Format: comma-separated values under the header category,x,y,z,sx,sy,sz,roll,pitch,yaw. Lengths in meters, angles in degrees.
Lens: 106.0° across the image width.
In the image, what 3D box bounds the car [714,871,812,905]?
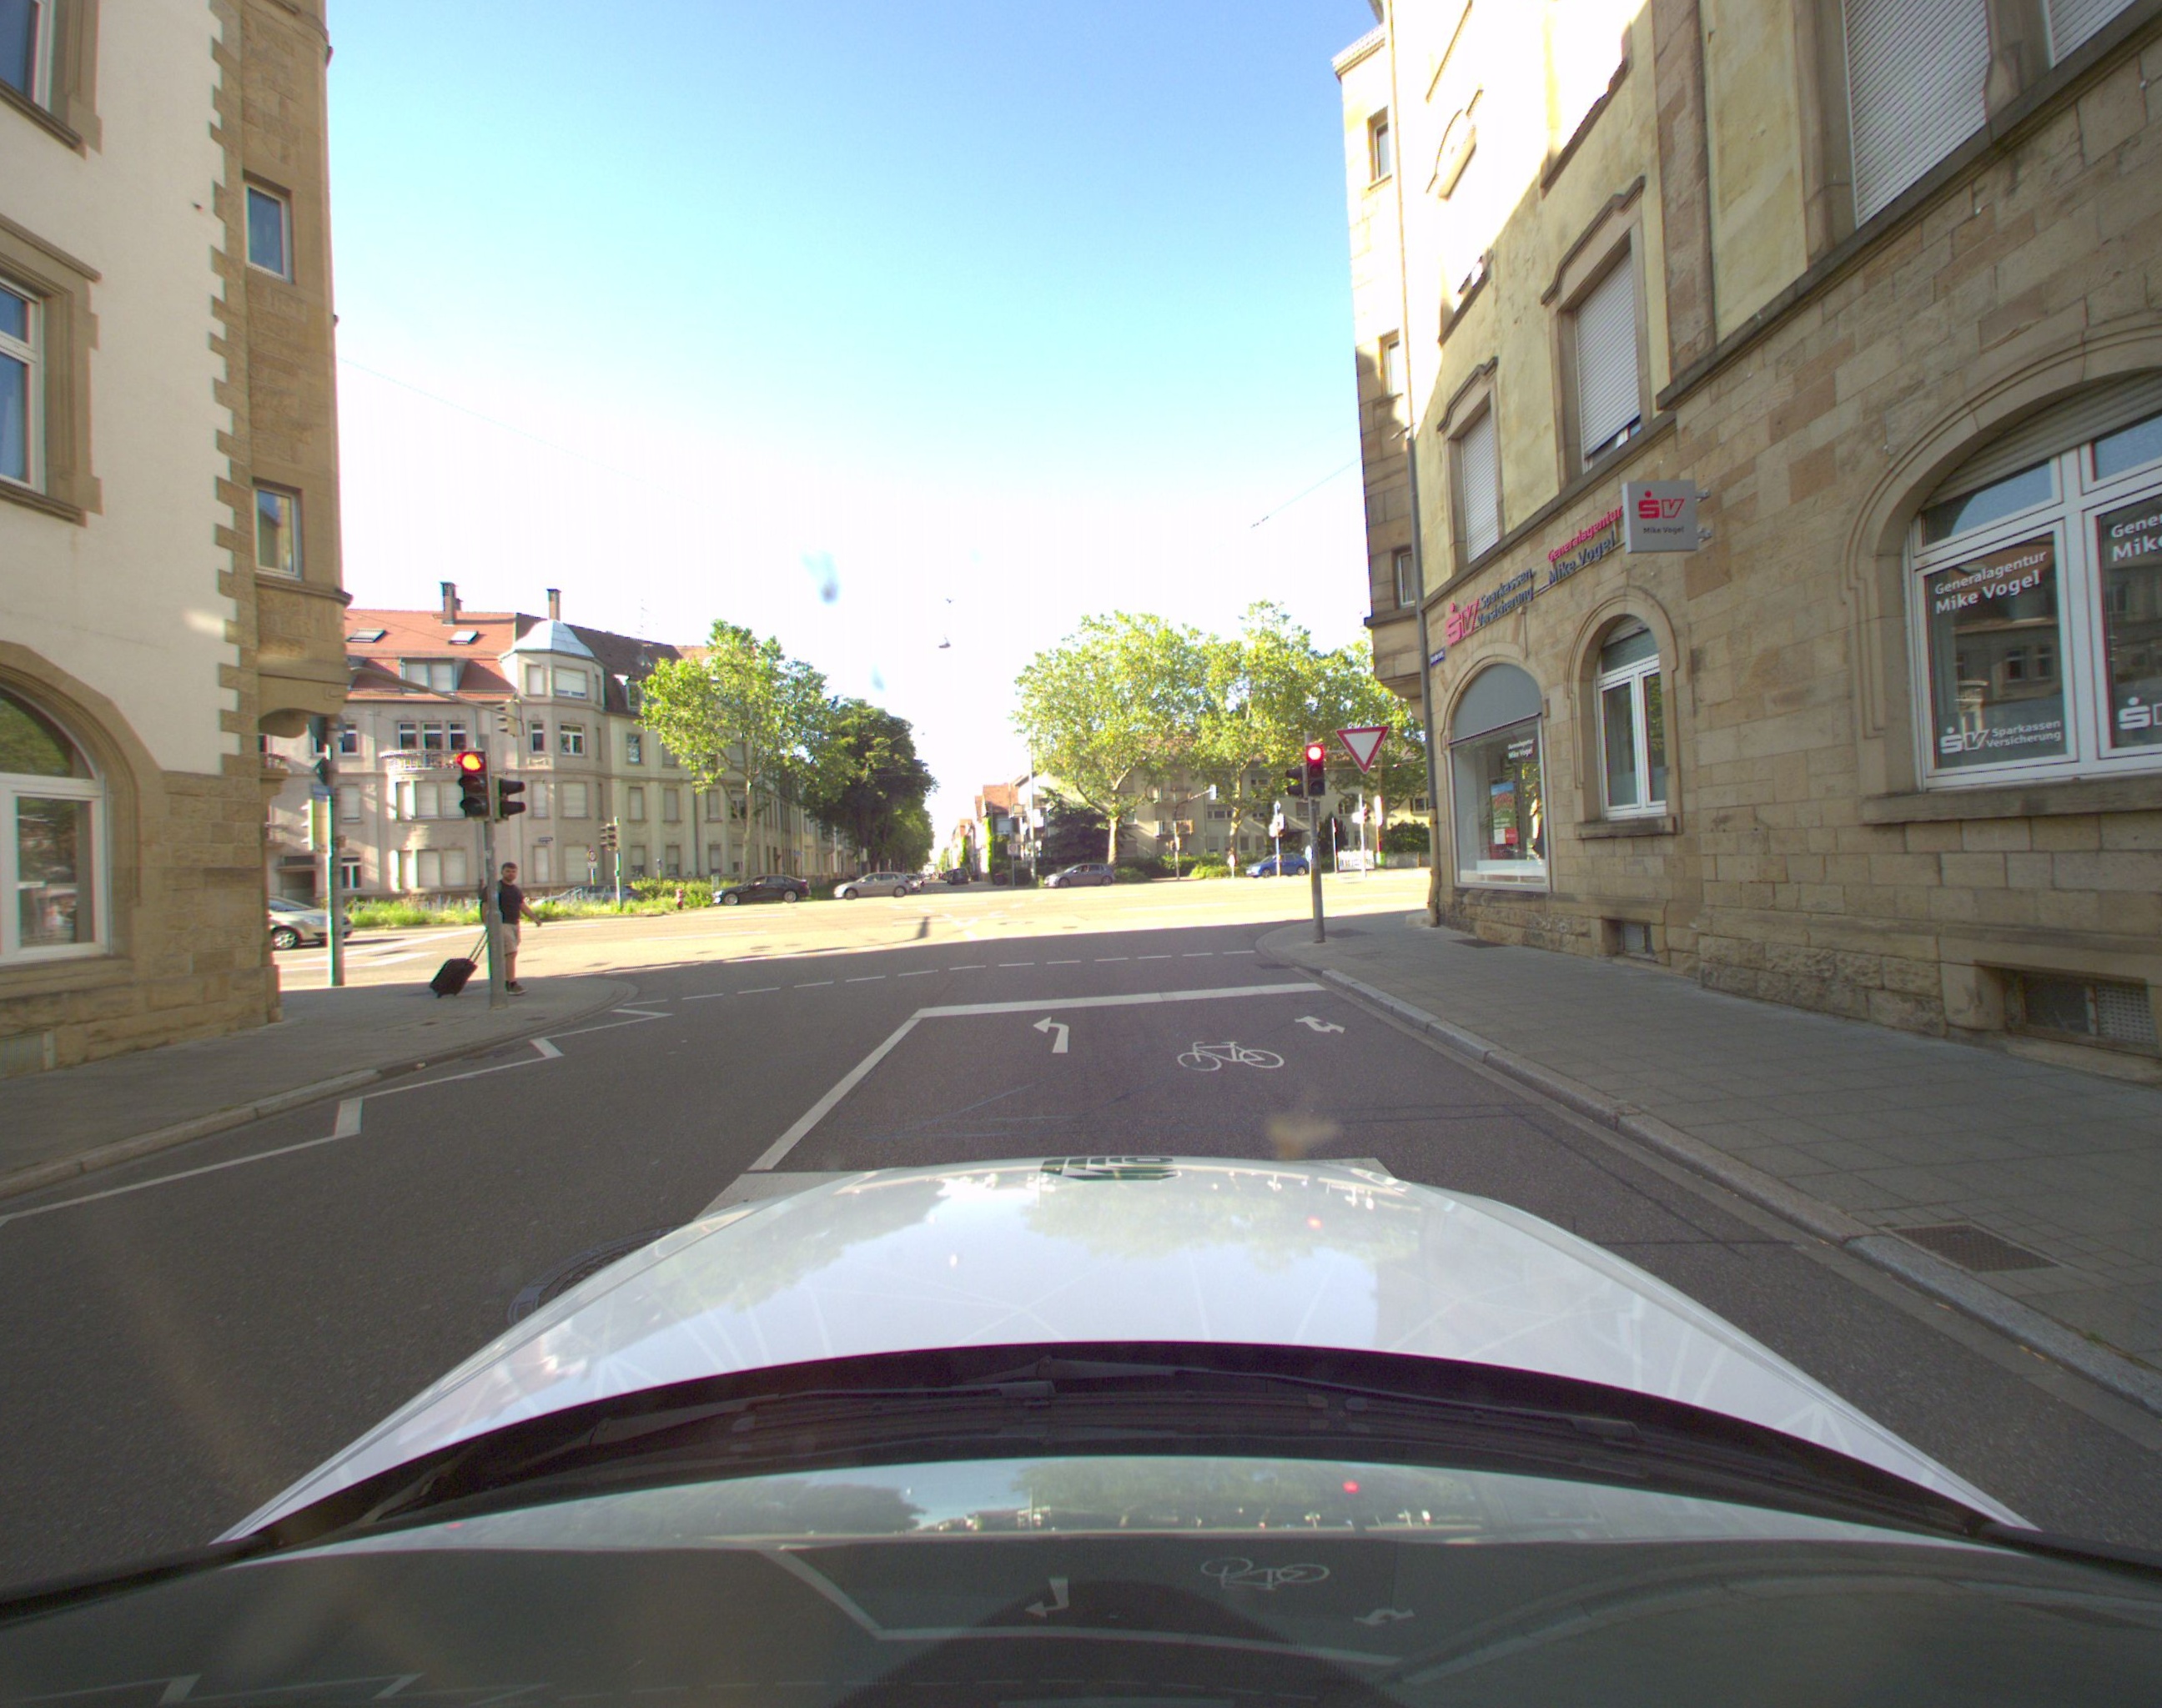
category,x,y,z,sx,sy,sz,roll,pitch,yaw
car,-15.324,1.623,39.457,4.281,1.400,1.635,-2,0,-20

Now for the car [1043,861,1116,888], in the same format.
category,x,y,z,sx,sy,sz,roll,pitch,yaw
car,-0.098,1.213,48.036,3.952,1.400,1.635,-2,0,-20

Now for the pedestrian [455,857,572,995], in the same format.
category,x,y,z,sx,sy,sz,roll,pitch,yaw
pedestrian,-7.880,0.979,11.364,1.066,1.849,0.746,2,-1,-11

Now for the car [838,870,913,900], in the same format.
category,x,y,z,sx,sy,sz,roll,pitch,yaw
car,-11.177,1.651,44.253,3.793,1.400,1.635,-2,0,-20

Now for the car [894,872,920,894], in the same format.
category,x,y,z,sx,sy,sz,roll,pitch,yaw
car,-13.591,2.259,63.786,1.698,1.483,3.522,-4,0,-10

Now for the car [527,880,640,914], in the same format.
category,x,y,z,sx,sy,sz,roll,pitch,yaw
car,-24.053,2.058,39.547,4.399,1.316,1.636,-2,0,-18

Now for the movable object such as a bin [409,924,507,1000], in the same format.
category,x,y,z,sx,sy,sz,roll,pitch,yaw
movable object such as a bin,-8.339,1.435,10.927,0.862,0.892,0.507,-3,0,-11

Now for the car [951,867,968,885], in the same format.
category,x,y,z,sx,sy,sz,roll,pitch,yaw
car,-14.163,2.507,94.970,1.773,1.918,3.522,-4,0,-10

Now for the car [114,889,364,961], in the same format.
category,x,y,z,sx,sy,sz,roll,pitch,yaw
car,-21.923,1.803,21.410,4.212,1.456,1.669,-3,0,-17

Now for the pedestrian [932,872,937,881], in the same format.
category,x,y,z,sx,sy,sz,roll,pitch,yaw
pedestrian,-25.365,3.909,141.233,0.773,1.668,0.632,0,-1,-2

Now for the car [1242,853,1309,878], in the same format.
category,x,y,z,sx,sy,sz,roll,pitch,yaw
car,12.411,0.731,51.976,3.786,1.400,1.638,-2,0,-14

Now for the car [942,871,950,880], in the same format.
category,x,y,z,sx,sy,sz,roll,pitch,yaw
car,-30.131,4.803,181.726,1.773,1.918,3.522,-4,0,-10

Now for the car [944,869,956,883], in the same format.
category,x,y,z,sx,sy,sz,roll,pitch,yaw
car,-20.746,3.471,128.814,1.773,1.918,3.522,-4,0,-10

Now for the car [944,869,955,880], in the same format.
category,x,y,z,sx,sy,sz,roll,pitch,yaw
car,-23.755,3.696,147.183,1.773,1.918,3.522,-4,0,-10

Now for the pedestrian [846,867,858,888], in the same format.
category,x,y,z,sx,sy,sz,roll,pitch,yaw
pedestrian,-16.199,1.661,57.581,0.706,1.442,0.486,0,-1,-25
